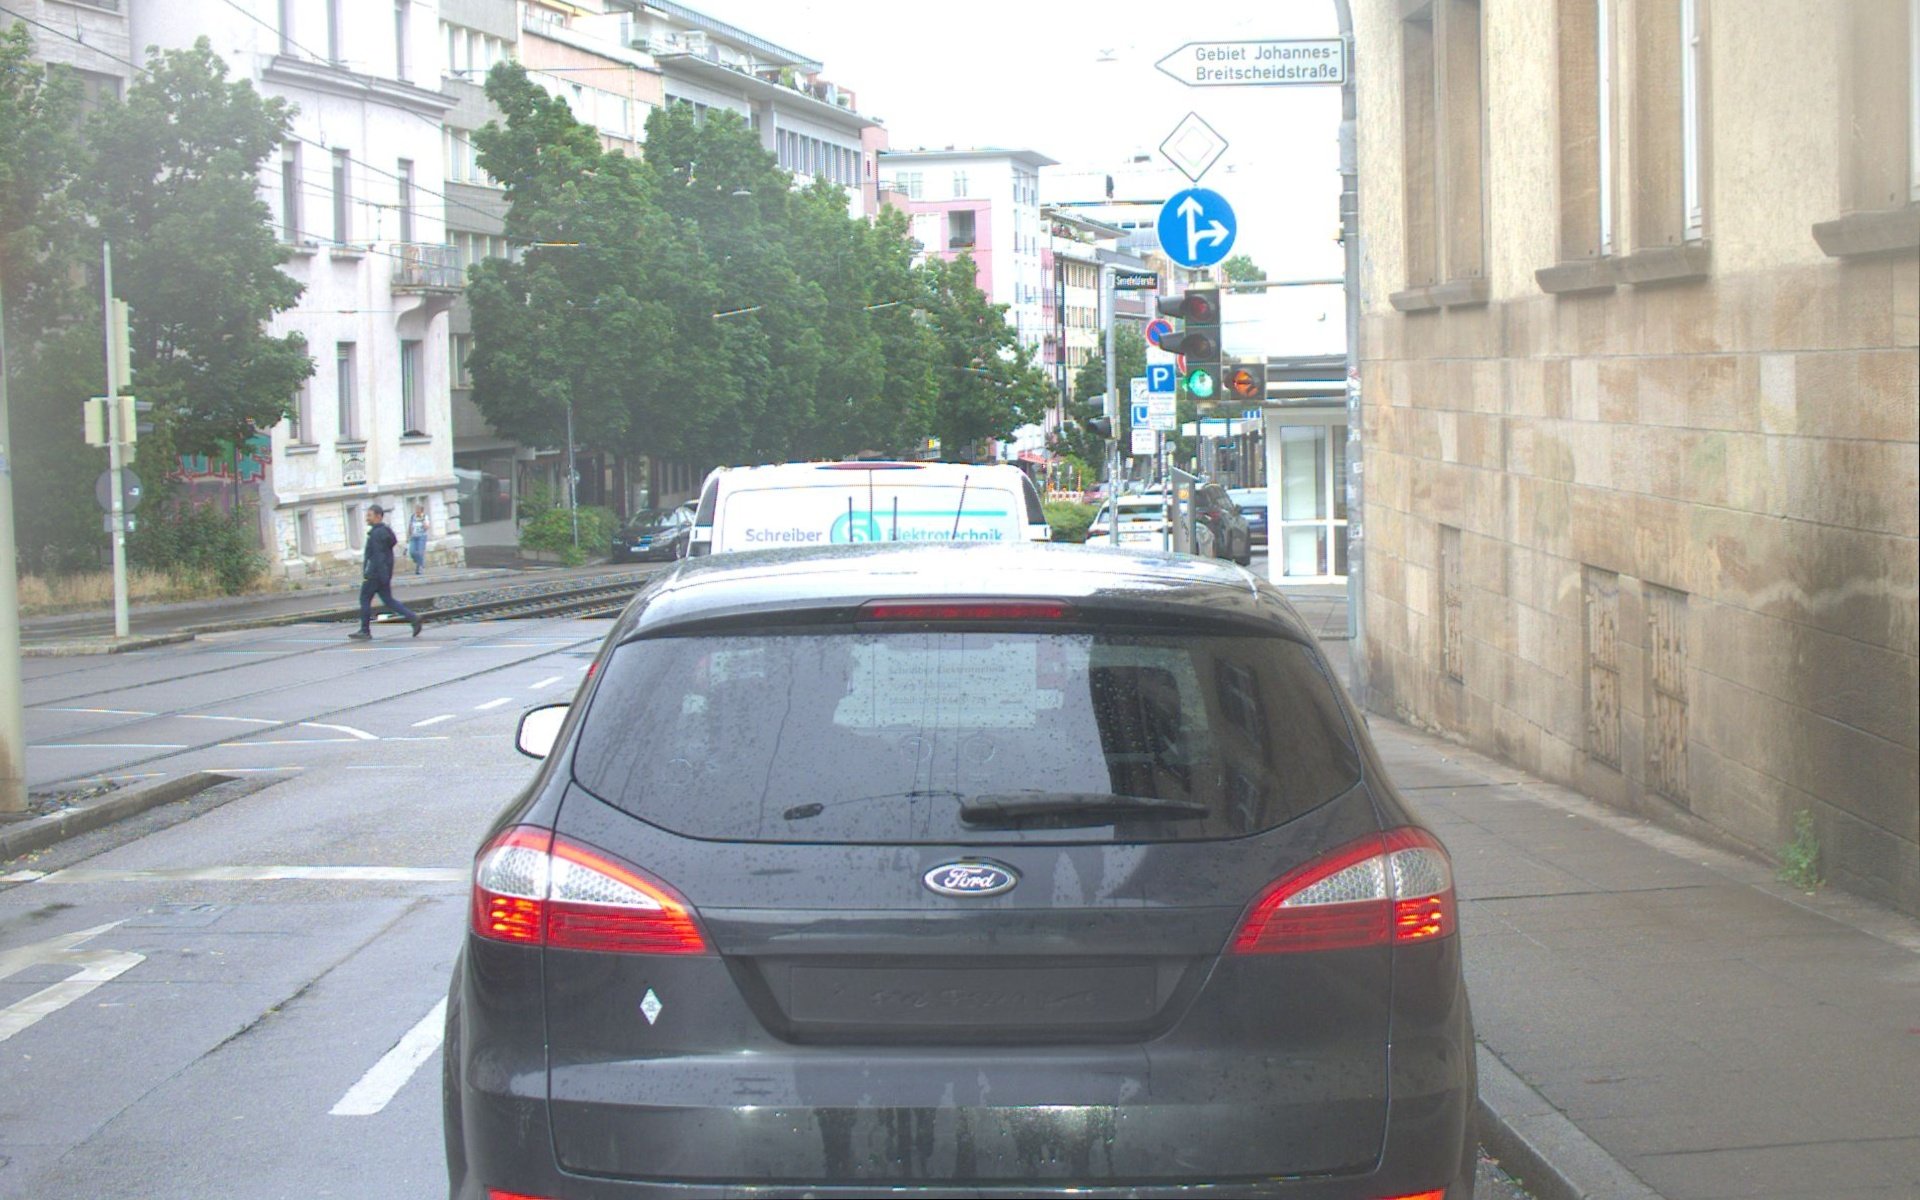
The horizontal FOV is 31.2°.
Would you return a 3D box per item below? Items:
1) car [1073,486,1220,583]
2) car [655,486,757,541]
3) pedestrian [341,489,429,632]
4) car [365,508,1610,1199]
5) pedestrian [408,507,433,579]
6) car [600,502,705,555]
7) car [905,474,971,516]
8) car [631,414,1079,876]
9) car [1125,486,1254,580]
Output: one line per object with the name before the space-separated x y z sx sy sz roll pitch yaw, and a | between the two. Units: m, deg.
car | 3.073 -1.059 55.852 1.802 1.450 4.585 -2 1 10
car | -7.327 -2.485 99.755 1.856 1.543 4.719 0 1 10
pedestrian | -7.515 -0.517 44.965 0.930 1.823 0.959 1 1 2
car | 0.010 0.596 7.117 1.842 1.502 4.000 1 1 -1
pedestrian | -12.360 -1.311 78.796 0.467 1.646 0.582 1 1 -2
car | -8.343 -1.931 93.698 1.694 1.373 4.719 0 0 10
car | -0.876 -4.252 139.529 1.856 1.631 4.933 0 1 10
car | -0.532 0.171 17.732 1.988 2.053 4.645 1 1 -2
car | 4.224 -1.216 62.720 1.846 1.627 4.585 -1 1 10
